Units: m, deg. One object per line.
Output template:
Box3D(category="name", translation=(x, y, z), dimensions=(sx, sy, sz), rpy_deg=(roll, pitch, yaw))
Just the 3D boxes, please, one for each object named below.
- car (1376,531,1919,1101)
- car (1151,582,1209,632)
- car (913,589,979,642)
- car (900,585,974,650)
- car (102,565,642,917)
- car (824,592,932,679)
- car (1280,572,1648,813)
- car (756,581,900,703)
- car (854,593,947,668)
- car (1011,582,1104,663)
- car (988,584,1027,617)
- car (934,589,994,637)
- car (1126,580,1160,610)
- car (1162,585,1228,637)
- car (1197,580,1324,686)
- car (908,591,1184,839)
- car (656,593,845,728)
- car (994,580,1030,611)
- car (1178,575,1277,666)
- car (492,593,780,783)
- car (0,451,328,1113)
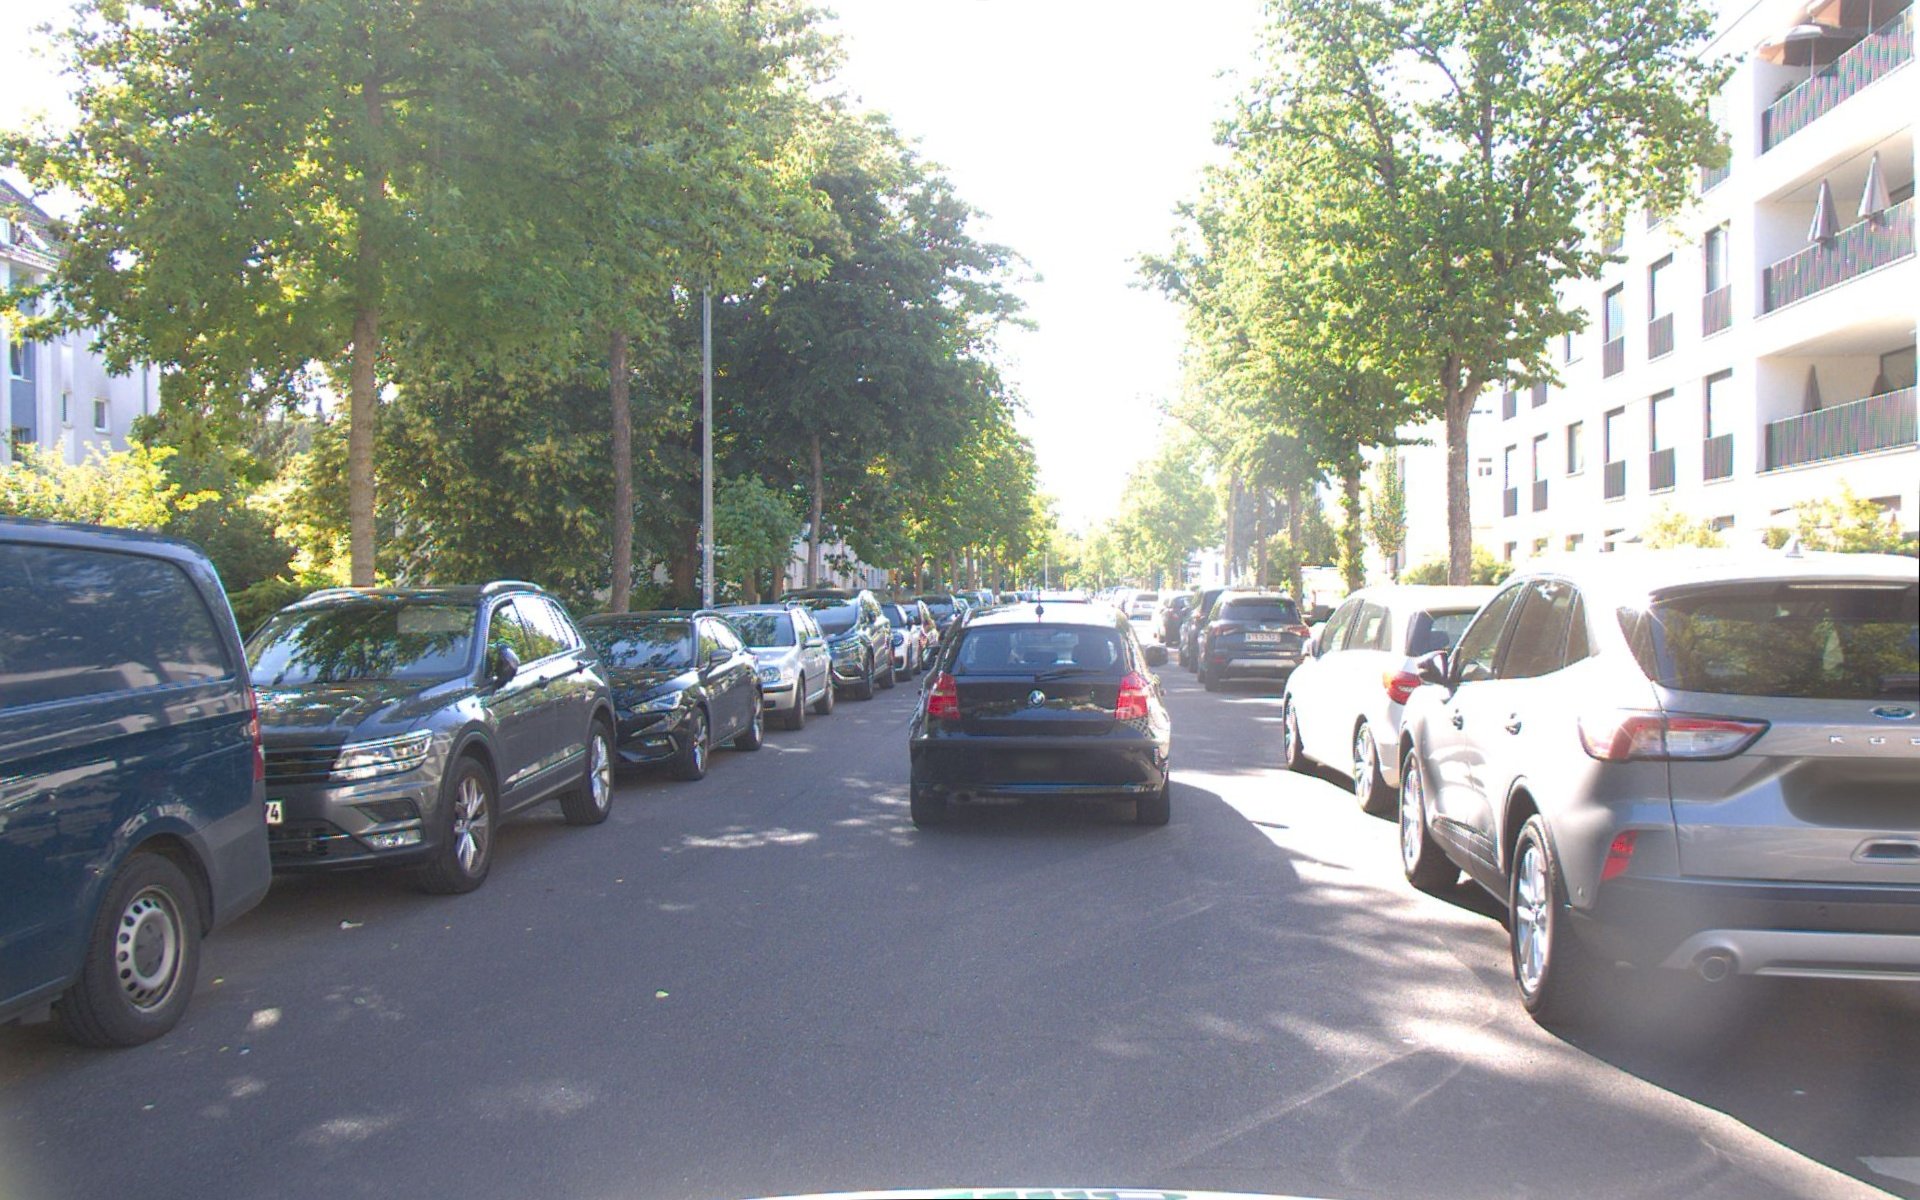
Box3D(category="car", translation=(3.001, 0.625, 7.009), dimensions=(1.809, 1.659, 4.413), rpy_deg=(0, 0, 6))
Box3D(category="car", translation=(7.008, 0.205, 52.908), dimensions=(1.684, 1.506, 3.854), rpy_deg=(1, 1, 6))
Box3D(category="car", translation=(-0.362, 0.410, 47.978), dimensions=(1.578, 1.416, 3.868), rpy_deg=(-2, 0, 4))
Box3D(category="car", translation=(-0.556, 0.413, 43.045), dimensions=(1.578, 1.570, 3.868), rpy_deg=(-2, 0, 4))
Box3D(category="car", translation=(-3.235, 0.661, 10.063), dimensions=(1.578, 1.639, 4.231), rpy_deg=(-2, 0, 2))
Box3D(category="car", translation=(-1.506, 0.633, 31.554), dimensions=(1.578, 1.478, 3.868), rpy_deg=(-2, 0, 4))
Box3D(category="car", translation=(3.640, 0.581, 12.674), dimensions=(1.659, 1.550, 4.001), rpy_deg=(0, 0, 1))
Box3D(category="car", translation=(-1.972, 0.585, 25.866), dimensions=(1.578, 1.708, 4.236), rpy_deg=(-2, 0, 4))
Box3D(category="car", translation=(-1.252, 0.631, 36.163), dimensions=(1.578, 1.478, 3.868), rpy_deg=(-2, 0, 4))
Box3D(category="car", translation=(1.969, 0.395, 32.616), dimensions=(1.614, 1.450, 4.004), rpy_deg=(-1, 1, 6))
Box3D(category="car", translation=(2.222, 0.002, 76.617), dimensions=(1.578, 1.416, 3.868), rpy_deg=(-2, 0, 4))
Box3D(category="car", translation=(0.160, 0.382, 52.481), dimensions=(1.578, 1.416, 3.868), rpy_deg=(-2, 0, 4))
Box3D(category="car", translation=(9.754, -0.294, 88.117), dimensions=(1.684, 1.506, 3.854), rpy_deg=(-2, 0, 8))
Box3D(category="car", translation=(6.799, 0.301, 48.119), dimensions=(1.684, 1.403, 3.854), rpy_deg=(1, 1, 6))
Box3D(category="car", translation=(4.837, 0.474, 27.069), dimensions=(1.684, 1.555, 4.003), rpy_deg=(1, 1, 6))
Box3D(category="car", translation=(0.522, 0.679, 11.582), dimensions=(1.615, 1.421, 3.412), rpy_deg=(-1, 1, 0))
Box3D(category="car", translation=(-2.487, 0.674, 20.446), dimensions=(1.578, 1.452, 3.728), rpy_deg=(-2, 0, 4))
Box3D(category="car", translation=(2.589, -0.245, 82.031), dimensions=(1.578, 1.416, 3.868), rpy_deg=(-2, 0, 4))
Box3D(category="car", translation=(5.291, 0.356, 33.063), dimensions=(1.684, 1.669, 3.854), rpy_deg=(1, 1, 6))
Box3D(category="car", translation=(-2.837, 0.705, 15.361), dimensions=(1.578, 1.452, 4.060), rpy_deg=(-2, 0, 4))
Box3D(category="car", translation=(-3.775, 0.569, 4.356), dimensions=(1.788, 1.937, 5.145), rpy_deg=(-2, 0, 5))
